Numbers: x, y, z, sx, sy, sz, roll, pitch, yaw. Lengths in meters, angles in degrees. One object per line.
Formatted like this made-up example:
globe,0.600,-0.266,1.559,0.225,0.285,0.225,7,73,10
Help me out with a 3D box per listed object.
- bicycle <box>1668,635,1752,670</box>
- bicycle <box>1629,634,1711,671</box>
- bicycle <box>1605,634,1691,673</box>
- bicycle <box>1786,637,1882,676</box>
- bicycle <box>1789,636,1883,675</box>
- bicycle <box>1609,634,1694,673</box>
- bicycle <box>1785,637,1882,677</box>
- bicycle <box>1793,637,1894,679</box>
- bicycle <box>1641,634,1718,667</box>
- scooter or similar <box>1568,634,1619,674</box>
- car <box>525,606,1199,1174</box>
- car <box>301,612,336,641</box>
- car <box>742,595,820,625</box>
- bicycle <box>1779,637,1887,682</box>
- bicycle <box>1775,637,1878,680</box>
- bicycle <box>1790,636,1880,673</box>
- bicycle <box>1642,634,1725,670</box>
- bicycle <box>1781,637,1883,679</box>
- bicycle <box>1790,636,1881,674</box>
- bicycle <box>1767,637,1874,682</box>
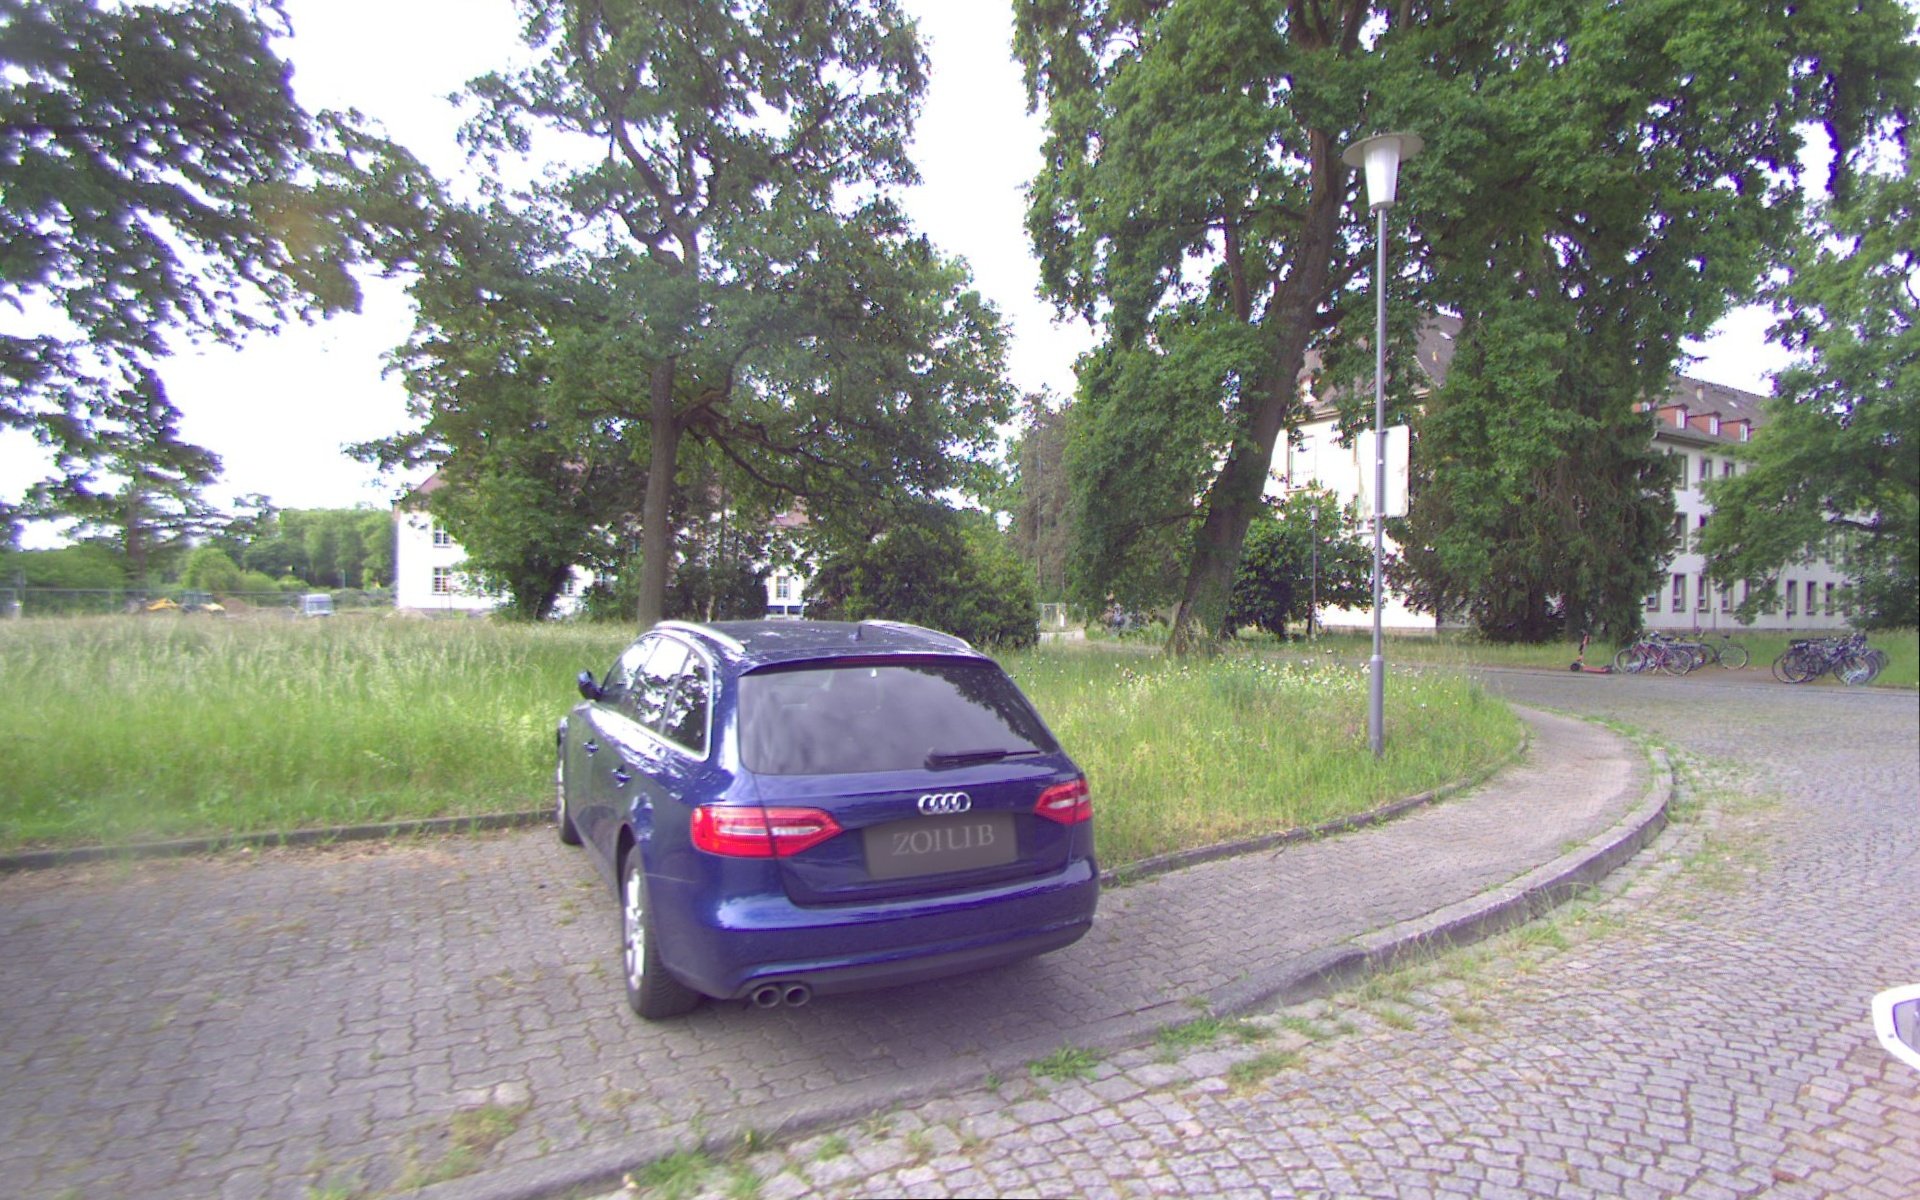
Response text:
bicycle,22.635,1.568,30.344,0.622,1.002,1.941,1,-1,-39
bicycle,20.604,1.517,29.207,1.931,1.002,0.625,0,-1,34
bicycle,18.956,1.464,27.701,1.931,1.002,0.625,0,-1,34
bicycle,23.801,1.524,27.387,1.933,1.002,0.624,0,-1,38
bicycle,24.596,1.553,28.248,1.933,1.002,0.624,0,-1,38
bicycle,19.310,1.476,28.060,1.933,1.002,0.624,0,-1,38
bicycle,23.392,1.510,26.939,1.933,1.002,0.624,0,-1,38
bicycle,22.989,1.489,26.185,1.933,1.002,0.624,0,-1,38
bicycle,23.144,1.614,32.337,1.937,1.002,0.623,0,-1,44
scooter or similar,17.749,1.498,28.159,0.445,1.052,1.351,1,0,-8
car,-0.984,0.821,5.126,1.950,1.480,4.285,0,1,-28
car,-50.893,2.072,79.653,1.981,2.229,4.985,1,0,-37
car,-12.739,0.729,71.501,5.164,2.040,1.986,1,-1,-28
bicycle,21.176,1.428,24.414,1.933,1.002,0.624,0,-1,38
bicycle,21.784,1.455,25.299,1.933,1.002,0.624,0,-1,38
bicycle,25.476,1.586,29.291,1.933,1.002,0.624,0,-1,38
bicycle,21.640,1.550,30.085,0.622,1.002,1.941,1,-1,-39
bicycle,22.269,1.469,25.699,1.933,1.002,0.624,0,-1,38
bicycle,24.985,1.567,28.706,1.933,1.002,0.624,0,-1,38
bicycle,20.632,1.415,24.124,1.935,1.002,0.624,0,-1,40
